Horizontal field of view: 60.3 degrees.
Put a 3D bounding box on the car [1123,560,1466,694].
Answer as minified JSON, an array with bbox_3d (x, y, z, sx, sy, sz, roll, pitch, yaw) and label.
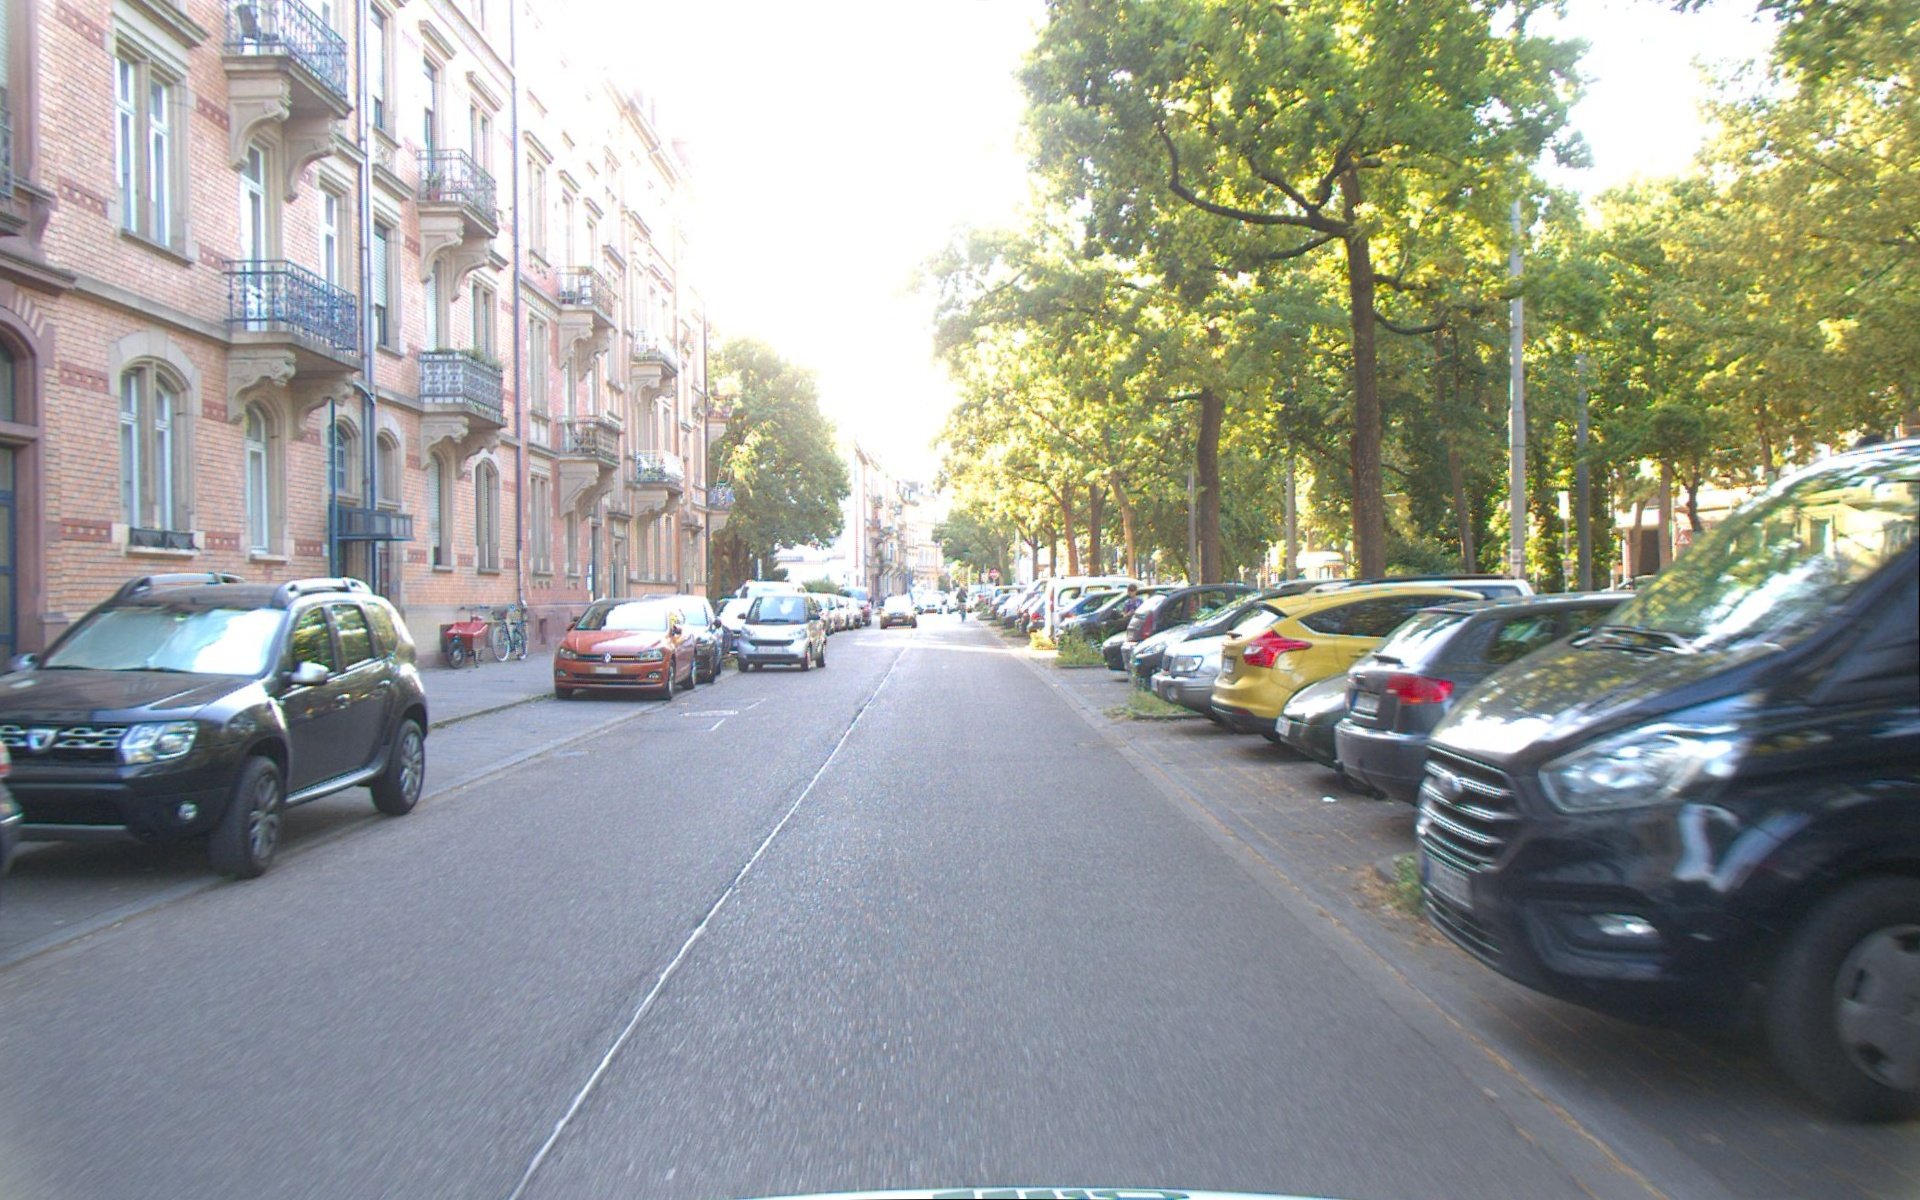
[{"bbox_3d":[4.493,0.360,22.704,4.309,1.619,1.838,-2,-1,0],"label":"car"}]

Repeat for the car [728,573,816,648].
[{"bbox_3d":[-5.079,0.332,45.359,1.953,1.955,5.038,0,-2,-2],"label":"car"}]

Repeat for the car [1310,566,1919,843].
[{"bbox_3d":[4.564,0.575,10.333,4.310,1.465,1.837,-2,-1,-2],"label":"car"}]

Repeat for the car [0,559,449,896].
[{"bbox_3d":[-4.767,0.648,10.630,1.716,1.736,4.200,0,0,-1],"label":"car"}]

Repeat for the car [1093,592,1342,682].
[{"bbox_3d":[4.171,0.590,27.159,3.765,1.301,1.690,-2,0,-2],"label":"car"}]

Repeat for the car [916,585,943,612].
[{"bbox_3d":[-2.279,-0.084,122.137,1.953,1.870,3.998,0,-2,-2],"label":"car"}]

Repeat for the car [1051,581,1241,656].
[{"bbox_3d":[4.169,0.398,37.537,4.000,1.467,1.760,-3,0,-3],"label":"car"}]

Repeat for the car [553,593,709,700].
[{"bbox_3d":[-5.002,0.657,25.606,1.718,1.489,3.998,1,0,-2],"label":"car"}]

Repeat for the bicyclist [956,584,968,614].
[{"bbox_3d":[0.114,-0.038,89.801,0.615,1.601,0.802,0,-2,-2],"label":"bicyclist"}]

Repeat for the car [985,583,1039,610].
[{"bbox_3d":[4.009,-0.270,127.394,3.901,2.049,2.001,0,-2,11],"label":"car"}]

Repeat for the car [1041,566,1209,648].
[{"bbox_3d":[4.251,0.173,43.022,4.133,1.896,1.762,-3,0,0],"label":"car"}]

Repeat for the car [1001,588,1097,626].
[{"bbox_3d":[3.748,0.310,70.061,3.907,1.575,1.858,0,-2,-3],"label":"car"}]

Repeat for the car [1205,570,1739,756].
[{"bbox_3d":[4.536,0.550,15.170,4.308,1.465,1.838,-2,-1,2],"label":"car"}]

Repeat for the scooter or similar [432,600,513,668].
[{"bbox_3d":[-9.339,0.661,31.806,0.767,1.244,2.703,0,-2,0],"label":"scooter or similar"}]

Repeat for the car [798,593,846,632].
[{"bbox_3d":[-5.623,0.505,67.615,1.721,1.542,4.160,0,0,-2],"label":"car"}]

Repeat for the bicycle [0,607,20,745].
[{"bbox_3d":[-8.922,0.695,13.788,0.721,1.227,2.514,0,1,0],"label":"bicycle"}]

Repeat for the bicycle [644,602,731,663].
[{"bbox_3d":[-5.628,0.676,34.207,1.727,1.236,0.441,0,-2,-1],"label":"bicycle"}]

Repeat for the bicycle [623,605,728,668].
[{"bbox_3d":[-5.713,0.736,33.243,2.054,1.236,0.439,1,-2,-16],"label":"bicycle"}]

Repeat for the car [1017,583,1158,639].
[{"bbox_3d":[3.842,0.326,50.432,4.133,1.478,1.865,-3,0,0],"label":"car"}]

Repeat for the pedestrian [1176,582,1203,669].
[{"bbox_3d":[4.132,0.454,29.737,0.372,1.543,0.519,-1,2,19],"label":"pedestrian"}]

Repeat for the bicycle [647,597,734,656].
[{"bbox_3d":[-5.650,0.554,34.725,1.727,1.236,0.464,0,-2,-1],"label":"bicycle"}]

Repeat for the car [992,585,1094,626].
[{"bbox_3d":[3.618,0.261,72.677,4.302,1.729,1.858,0,-2,-3],"label":"car"}]

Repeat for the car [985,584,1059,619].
[{"bbox_3d":[3.375,0.103,90.345,3.907,1.825,1.858,0,-2,-3],"label":"car"}]

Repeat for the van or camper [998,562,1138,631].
[{"bbox_3d":[3.889,-0.096,60.071,4.881,2.419,2.184,0,-2,-2],"label":"van or camper"}]

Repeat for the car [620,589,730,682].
[{"bbox_3d":[-5.135,0.606,30.227,1.713,1.573,4.146,1,0,-6],"label":"car"}]

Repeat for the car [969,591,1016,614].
[{"bbox_3d":[2.899,0.244,147.826,3.901,2.049,2.001,0,-2,11],"label":"car"}]

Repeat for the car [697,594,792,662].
[{"bbox_3d":[-5.083,0.624,39.476,1.640,1.480,4.210,-2,0,0],"label":"car"}]

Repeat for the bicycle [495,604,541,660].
[{"bbox_3d":[-9.306,0.675,34.888,0.418,1.150,1.769,0,-2,3],"label":"bicycle"}]

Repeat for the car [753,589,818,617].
[{"bbox_3d":[-11.219,0.198,106.583,3.905,1.736,2.000,0,-2,0],"label":"car"}]

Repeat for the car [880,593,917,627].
[{"bbox_3d":[-2.876,0.441,77.999,1.634,1.489,3.999,-2,0,-1],"label":"car"}]

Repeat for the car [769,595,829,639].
[{"bbox_3d":[-5.418,0.549,56.110,1.636,1.454,4.241,0,0,0],"label":"car"}]

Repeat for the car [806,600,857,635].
[{"bbox_3d":[-5.570,0.743,72.077,1.720,1.491,4.269,0,0,2],"label":"car"}]

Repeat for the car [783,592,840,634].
[{"bbox_3d":[-5.504,0.466,61.546,1.668,1.454,3.878,1,0,1],"label":"car"}]

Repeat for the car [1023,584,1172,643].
[{"bbox_3d":[3.920,0.370,47.537,4.132,1.478,1.649,-3,0,4],"label":"car"}]

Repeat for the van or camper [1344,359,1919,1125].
[{"bbox_3d":[4.168,0.309,5.486,5.301,2.062,2.030,-2,1,2],"label":"van or camper"}]

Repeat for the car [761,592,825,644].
[{"bbox_3d":[-5.101,0.535,50.885,1.636,1.512,3.999,1,0,-1],"label":"car"}]

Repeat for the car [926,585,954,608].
[{"bbox_3d":[-1.560,-0.258,127.352,1.744,1.703,4.482,0,0,-6],"label":"car"}]

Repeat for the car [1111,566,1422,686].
[{"bbox_3d":[4.629,0.383,25.306,4.314,1.619,1.835,-2,-1,-5],"label":"car"}]

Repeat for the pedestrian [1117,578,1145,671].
[{"bbox_3d":[3.042,0.425,29.367,0.372,1.612,0.519,-1,2,19],"label":"pedestrian"}]

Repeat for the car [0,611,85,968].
[{"bbox_3d":[-4.830,0.792,5.510,1.582,1.477,4.001,1,0,2],"label":"car"}]

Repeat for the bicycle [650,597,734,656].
[{"bbox_3d":[-5.704,0.567,35.236,1.727,1.236,0.428,0,-2,-1],"label":"bicycle"}]

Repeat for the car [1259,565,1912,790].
[{"bbox_3d":[4.618,0.560,12.733,4.308,1.465,1.838,-2,-1,2],"label":"car"}]

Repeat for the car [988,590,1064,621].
[{"bbox_3d":[3.486,0.300,87.672,3.907,1.591,1.858,0,-2,-3],"label":"car"}]

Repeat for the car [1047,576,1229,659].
[{"bbox_3d":[3.711,0.359,34.941,3.599,1.527,1.762,-3,0,0],"label":"car"}]

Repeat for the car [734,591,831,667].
[{"bbox_3d":[-3.643,0.565,34.266,1.472,1.460,2.754,-2,0,4],"label":"car"}]

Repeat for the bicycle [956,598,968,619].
[{"bbox_3d":[0.110,0.462,89.833,0.628,1.119,1.943,0,-2,-2],"label":"bicycle"}]

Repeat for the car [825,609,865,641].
[{"bbox_3d":[-5.587,1.193,80.733,1.720,1.491,4.267,0,0,-1],"label":"car"}]

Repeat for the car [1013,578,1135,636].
[{"bbox_3d":[3.783,0.223,55.507,3.905,1.721,1.859,-3,0,0],"label":"car"}]

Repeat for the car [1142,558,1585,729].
[{"bbox_3d":[4.254,0.453,17.925,4.310,1.619,1.837,-2,-1,-1],"label":"car"}]

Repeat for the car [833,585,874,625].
[{"bbox_3d":[-5.521,0.262,86.271,1.918,2.053,4.267,0,0,-1],"label":"car"}]

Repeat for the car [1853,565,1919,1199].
[{"bbox_3d":[4.107,0.607,2.692,4.312,1.527,1.836,-2,-1,-3],"label":"car"}]
